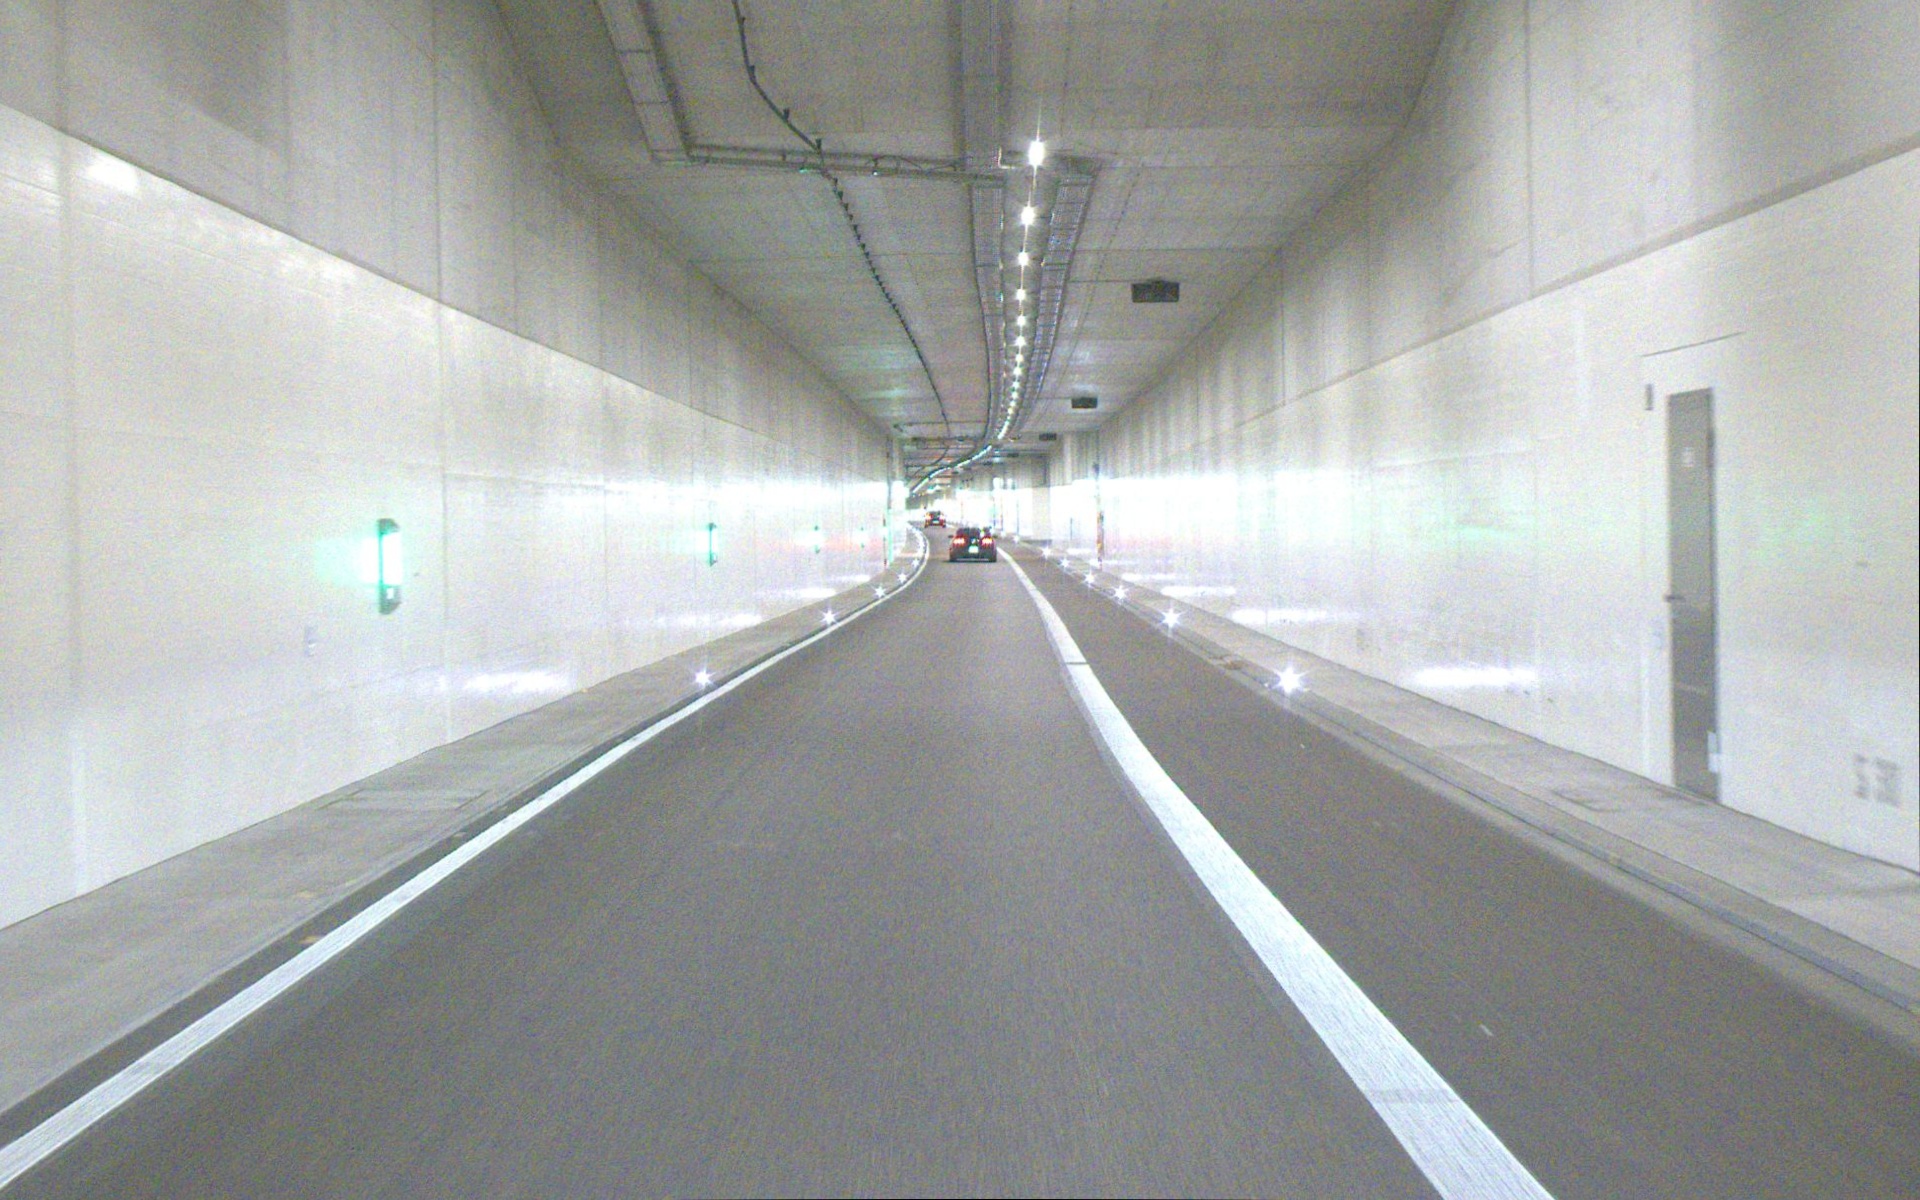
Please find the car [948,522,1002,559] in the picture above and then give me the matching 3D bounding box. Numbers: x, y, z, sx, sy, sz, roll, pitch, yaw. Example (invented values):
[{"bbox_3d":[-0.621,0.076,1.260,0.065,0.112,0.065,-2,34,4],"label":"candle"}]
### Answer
[{"bbox_3d":[0.598,-2.396,137.997,1.993,1.415,4.001,2,1,-2],"label":"car"}]
